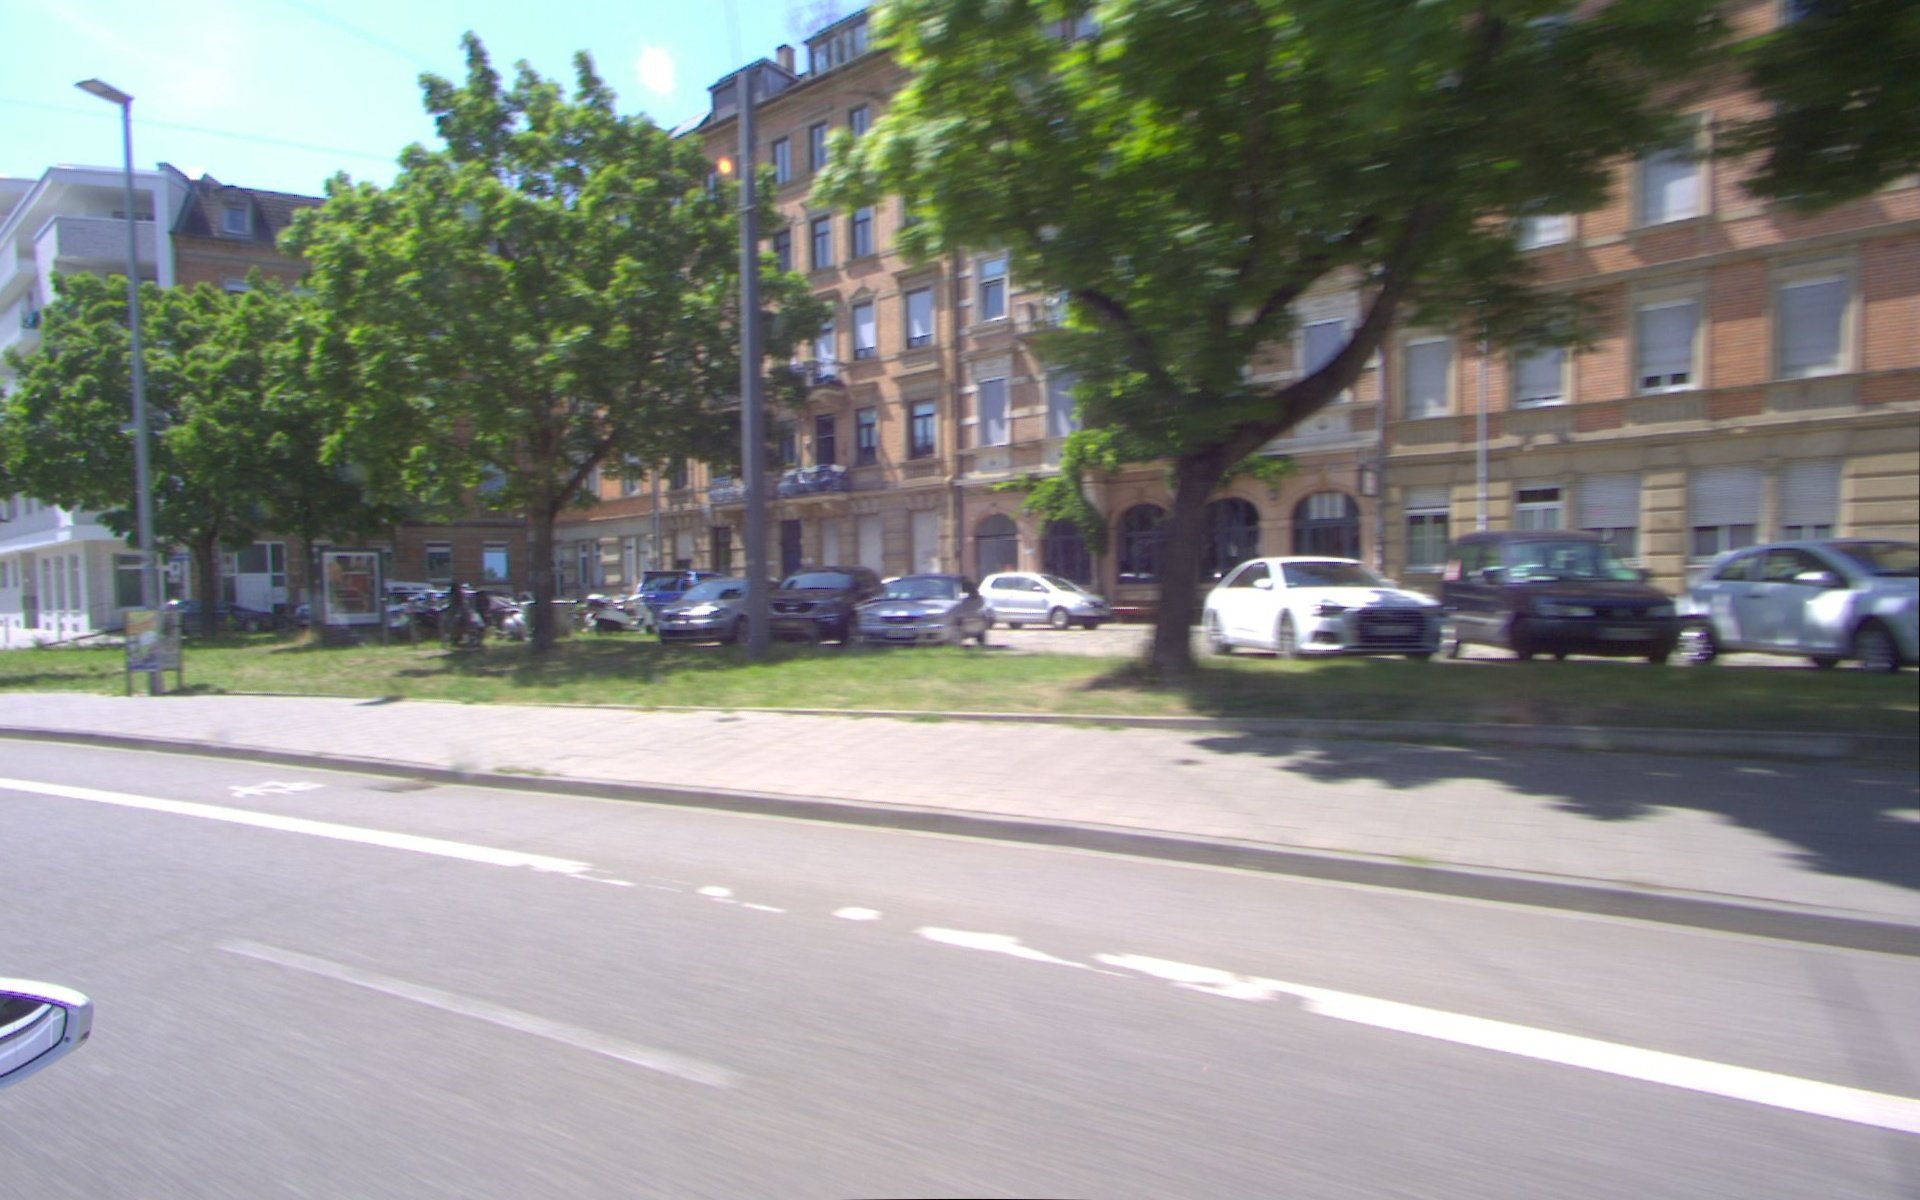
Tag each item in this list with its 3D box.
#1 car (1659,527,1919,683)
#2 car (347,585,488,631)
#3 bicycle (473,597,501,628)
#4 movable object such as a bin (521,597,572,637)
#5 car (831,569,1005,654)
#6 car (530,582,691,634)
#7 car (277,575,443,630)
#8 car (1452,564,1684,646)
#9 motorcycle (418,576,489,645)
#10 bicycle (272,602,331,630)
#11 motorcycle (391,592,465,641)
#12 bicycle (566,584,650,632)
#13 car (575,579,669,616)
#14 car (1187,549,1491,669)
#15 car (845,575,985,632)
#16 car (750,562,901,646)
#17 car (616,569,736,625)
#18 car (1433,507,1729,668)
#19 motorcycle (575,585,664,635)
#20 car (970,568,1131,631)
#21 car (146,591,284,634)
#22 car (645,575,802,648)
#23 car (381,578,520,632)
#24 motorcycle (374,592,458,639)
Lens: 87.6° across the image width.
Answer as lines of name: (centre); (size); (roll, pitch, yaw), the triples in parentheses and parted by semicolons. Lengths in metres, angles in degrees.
car: (9.586, 0.045, 10.611); (1.679, 1.419, 3.999); (0, 0, 2)
car: (-16.932, 0.235, 31.484); (1.726, 1.350, 3.997); (0, 0, 11)
bicycle: (-12.899, 0.325, 27.318); (0.490, 0.816, 1.453); (0, 0, -17)
movable object such as a bin: (-10.027, 0.394, 24.282); (0.978, 0.949, 0.695); (-1, 1, -41)
car: (-0.607, 0.193, 17.879); (1.936, 1.331, 3.994); (0, 0, 16)
car: (-10.010, 0.207, 28.824); (3.961, 1.394, 1.937); (0, 0, -44)
car: (-19.209, 0.085, 32.356); (1.801, 1.622, 4.871); (0, 0, 11)
car: (11.660, 0.098, 19.278); (3.668, 1.439, 1.772); (0, 0, 38)
motorcycle: (-11.125, 0.219, 21.959); (1.834, 1.433, 0.672); (0, 3, 40)
bicycle: (-23.119, 0.552, 35.206); (0.498, 0.948, 2.050); (0, 0, 8)
motorcycle: (-12.815, 0.387, 24.167); (0.472, 1.135, 1.514); (0, 1, 37)
bicycle: (-9.526, 0.204, 27.162); (2.063, 1.252, 0.625); (0, 1, -42)
car: (-13.851, -0.087, 40.993); (3.949, 1.439, 1.765); (0, 0, 37)
car: (4.792, 0.101, 13.586); (2.108, 1.331, 4.787); (0, 0, -3)
car: (-1.366, 0.105, 29.580); (3.953, 1.550, 1.828); (0, 0, 40)
car: (-2.537, 0.076, 19.904); (1.764, 1.489, 4.089); (0, 0, 11)
car: (-10.392, -0.082, 36.535); (4.596, 1.929, 1.912); (0, 0, 39)
car: (7.500, -0.122, 12.615); (1.935, 1.684, 3.997); (0, 0, 12)
motorcycle: (-8.878, 0.249, 26.150); (2.059, 1.252, 0.806); (-1, 1, -37)
car: (2.379, -0.003, 26.807); (3.948, 1.550, 1.830); (0, 0, 37)
car: (-29.548, 0.492, 39.867); (4.062, 1.646, 1.690); (0, 0, -23)
car: (-4.908, 0.222, 21.422); (1.553, 1.394, 4.344); (0, 0, 12)
car: (-14.609, 0.152, 28.952); (1.576, 1.451, 3.867); (0, 0, 9)
motorcycle: (-13.481, 0.373, 24.855); (0.520, 1.135, 1.818); (0, 0, 31)
